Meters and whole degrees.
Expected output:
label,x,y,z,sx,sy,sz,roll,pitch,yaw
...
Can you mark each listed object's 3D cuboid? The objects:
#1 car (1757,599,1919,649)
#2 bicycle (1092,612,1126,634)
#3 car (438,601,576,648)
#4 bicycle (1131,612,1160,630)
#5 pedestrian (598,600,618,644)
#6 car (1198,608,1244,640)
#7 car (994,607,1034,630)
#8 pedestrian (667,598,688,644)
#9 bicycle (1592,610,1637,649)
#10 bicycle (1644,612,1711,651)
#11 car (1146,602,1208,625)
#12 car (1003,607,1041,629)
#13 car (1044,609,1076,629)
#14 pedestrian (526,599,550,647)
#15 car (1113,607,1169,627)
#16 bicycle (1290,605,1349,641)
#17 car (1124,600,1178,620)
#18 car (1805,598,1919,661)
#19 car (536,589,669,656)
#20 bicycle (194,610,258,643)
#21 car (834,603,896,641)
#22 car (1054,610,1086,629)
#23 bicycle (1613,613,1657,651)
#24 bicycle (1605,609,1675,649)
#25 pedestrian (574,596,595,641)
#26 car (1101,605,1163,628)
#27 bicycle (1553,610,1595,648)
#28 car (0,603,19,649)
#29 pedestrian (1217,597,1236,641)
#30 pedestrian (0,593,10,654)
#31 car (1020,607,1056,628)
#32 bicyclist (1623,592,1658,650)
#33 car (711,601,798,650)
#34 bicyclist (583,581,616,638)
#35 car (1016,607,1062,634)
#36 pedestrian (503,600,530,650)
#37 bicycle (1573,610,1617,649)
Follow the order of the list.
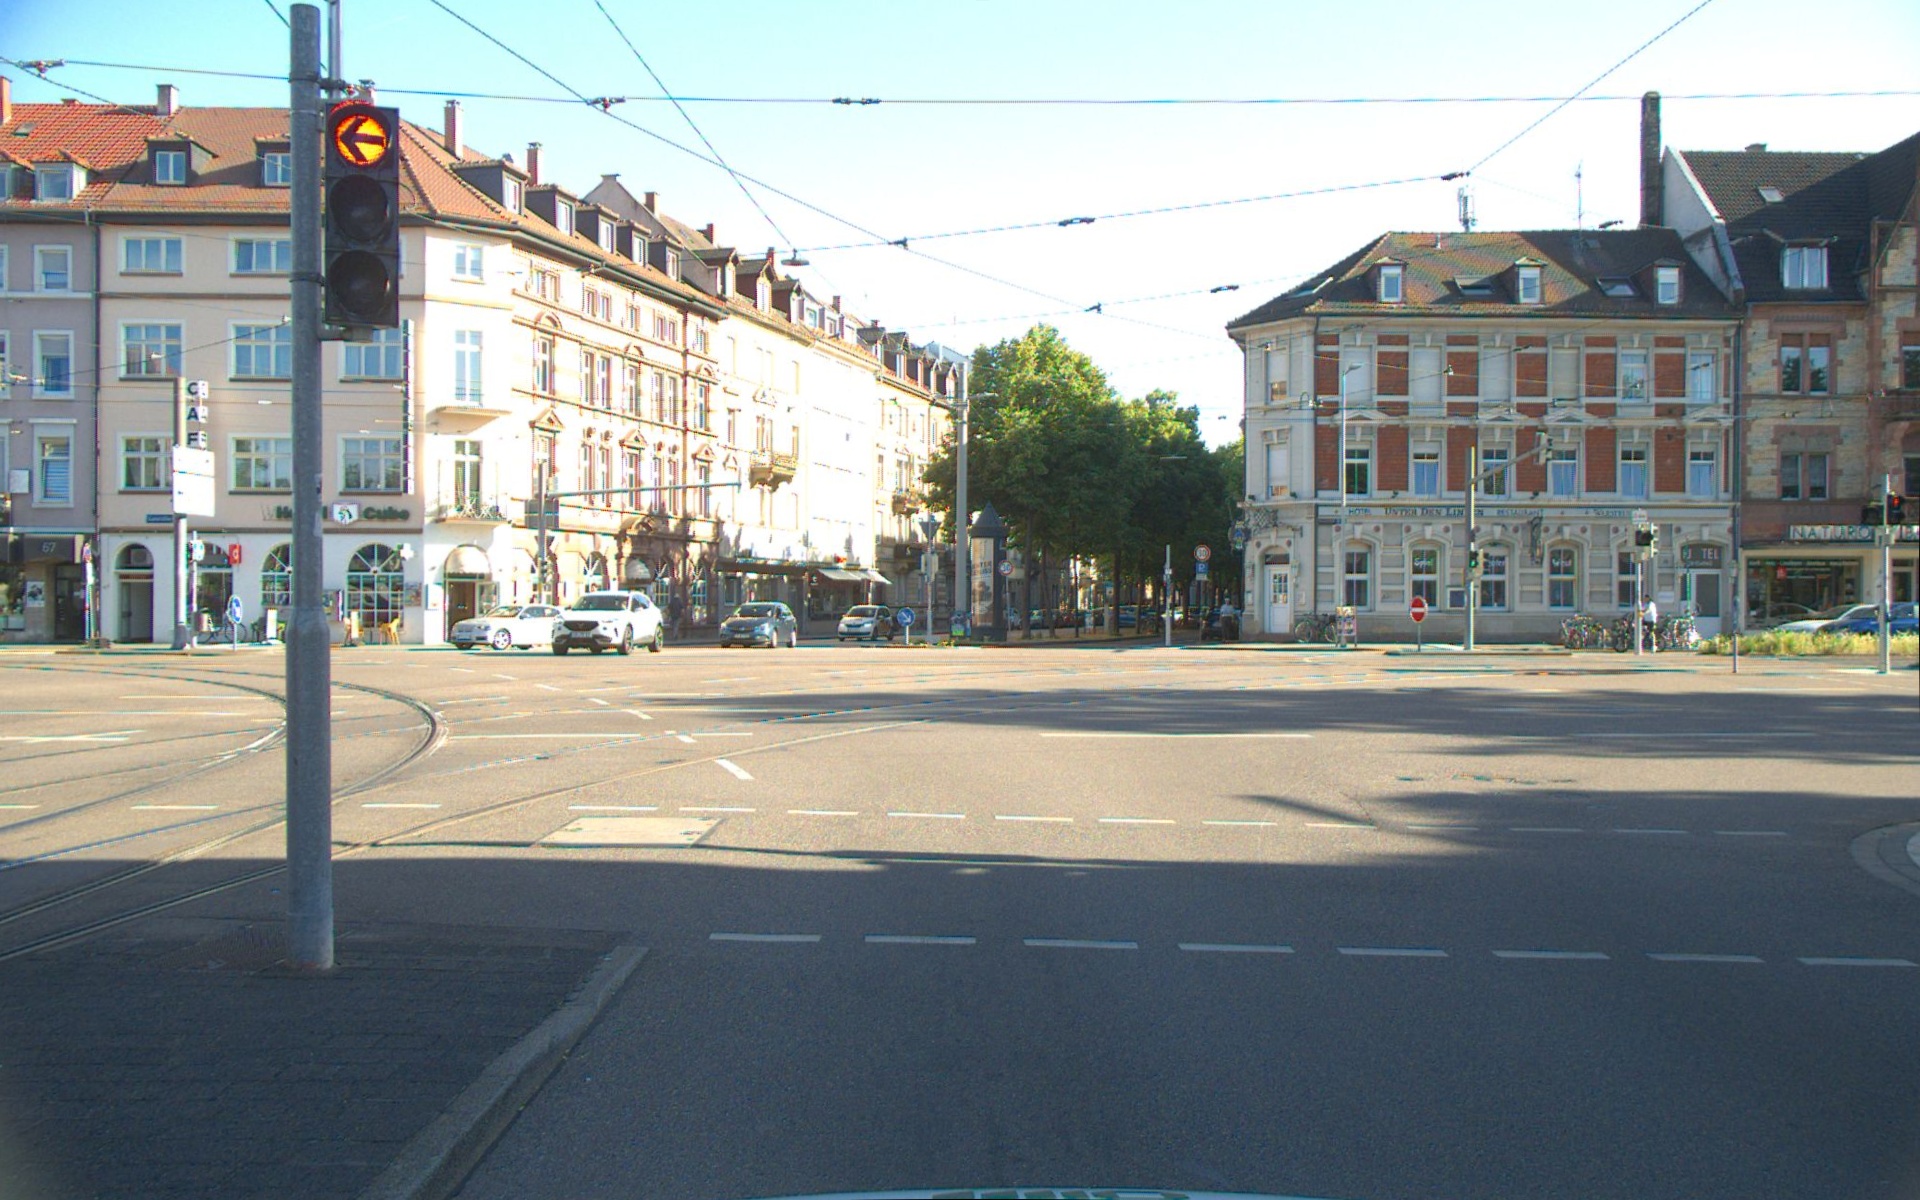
label,x,y,z,sx,sy,sz,roll,pitch,yaw
car,25.965,0.699,48.946,3.906,1.437,1.845,0,0,-2
bicycle,7.467,1.155,82.854,0.577,1.086,1.924,0,0,-37
car,-13.994,0.736,51.352,1.953,1.379,4.220,0,0,23
bicycle,11.164,1.263,99.401,0.577,1.086,1.924,0,0,-37
pedestrian,-13.356,0.836,62.804,0.539,1.670,0.537,0,0,20
car,13.073,1.158,82.597,1.951,1.523,4.037,0,0,13
car,3.705,1.227,112.912,1.951,1.523,4.037,0,0,13
pedestrian,-11.925,0.872,69.717,0.667,1.942,0.633,0,0,15
bicycle,21.158,0.932,53.497,0.663,1.211,1.967,0,0,0
bicycle,23.041,0.997,53.120,1.926,1.211,0.677,0,0,-13
car,15.293,0.946,116.688,3.913,1.572,1.996,0,0,30
car,4.451,1.258,117.409,1.951,1.523,4.037,0,0,13
car,7.995,1.493,131.905,1.951,1.523,4.037,0,0,13
pedestrian,-14.538,0.787,56.970,0.617,1.670,0.553,0,0,13
car,14.071,1.318,128.499,3.910,1.572,1.998,0,0,28
bicycle,12.457,0.796,57.354,1.919,1.211,0.546,0,0,4
car,15.527,0.809,134.626,3.910,1.572,1.998,0,0,28
car,25.913,0.789,45.949,3.906,1.697,1.954,0,0,-2
car,-8.574,0.512,40.047,1.951,1.523,4.350,0,0,5
bicycle,-24.891,0.900,56.091,1.906,1.086,0.582,0,0,-8
car,-4.021,0.909,70.322,1.681,1.523,3.586,0,0,13
car,9.116,1.607,136.647,1.951,1.523,4.037,0,0,13
bicycle,21.820,1.023,53.499,0.663,1.211,1.967,0,0,0
bicycle,21.059,0.898,51.213,1.920,1.211,0.602,0,0,2
pedestrian,-14.181,0.702,62.475,0.539,1.670,0.633,0,0,17
car,12.033,1.120,115.830,3.910,1.572,1.998,0,0,28
bicycle,19.831,0.922,53.450,0.663,1.211,1.967,0,0,0
car,-32.480,0.827,52.149,4.547,1.465,1.743,0,-1,-4
pedestrian,10.337,0.738,64.138,0.700,1.698,0.940,0,0,11
pedestrian,-26.078,0.633,44.611,0.716,1.655,0.666,0,0,-26
car,5.797,1.307,122.665,1.951,1.523,4.037,0,0,13
bicyclist,21.057,0.643,51.209,0.854,1.795,0.602,0,0,2
car,-6.666,0.798,54.045,1.736,1.523,4.577,0,0,7
bicyclist,-10.137,0.257,46.472,0.705,1.587,0.979,0,0,-25
car,4.667,1.179,97.399,1.951,1.523,4.037,0,0,13
pedestrian,-14.931,0.831,55.701,0.661,1.670,0.579,0,0,13
bicycle,20.519,0.950,53.487,0.663,1.211,1.967,0,0,0
